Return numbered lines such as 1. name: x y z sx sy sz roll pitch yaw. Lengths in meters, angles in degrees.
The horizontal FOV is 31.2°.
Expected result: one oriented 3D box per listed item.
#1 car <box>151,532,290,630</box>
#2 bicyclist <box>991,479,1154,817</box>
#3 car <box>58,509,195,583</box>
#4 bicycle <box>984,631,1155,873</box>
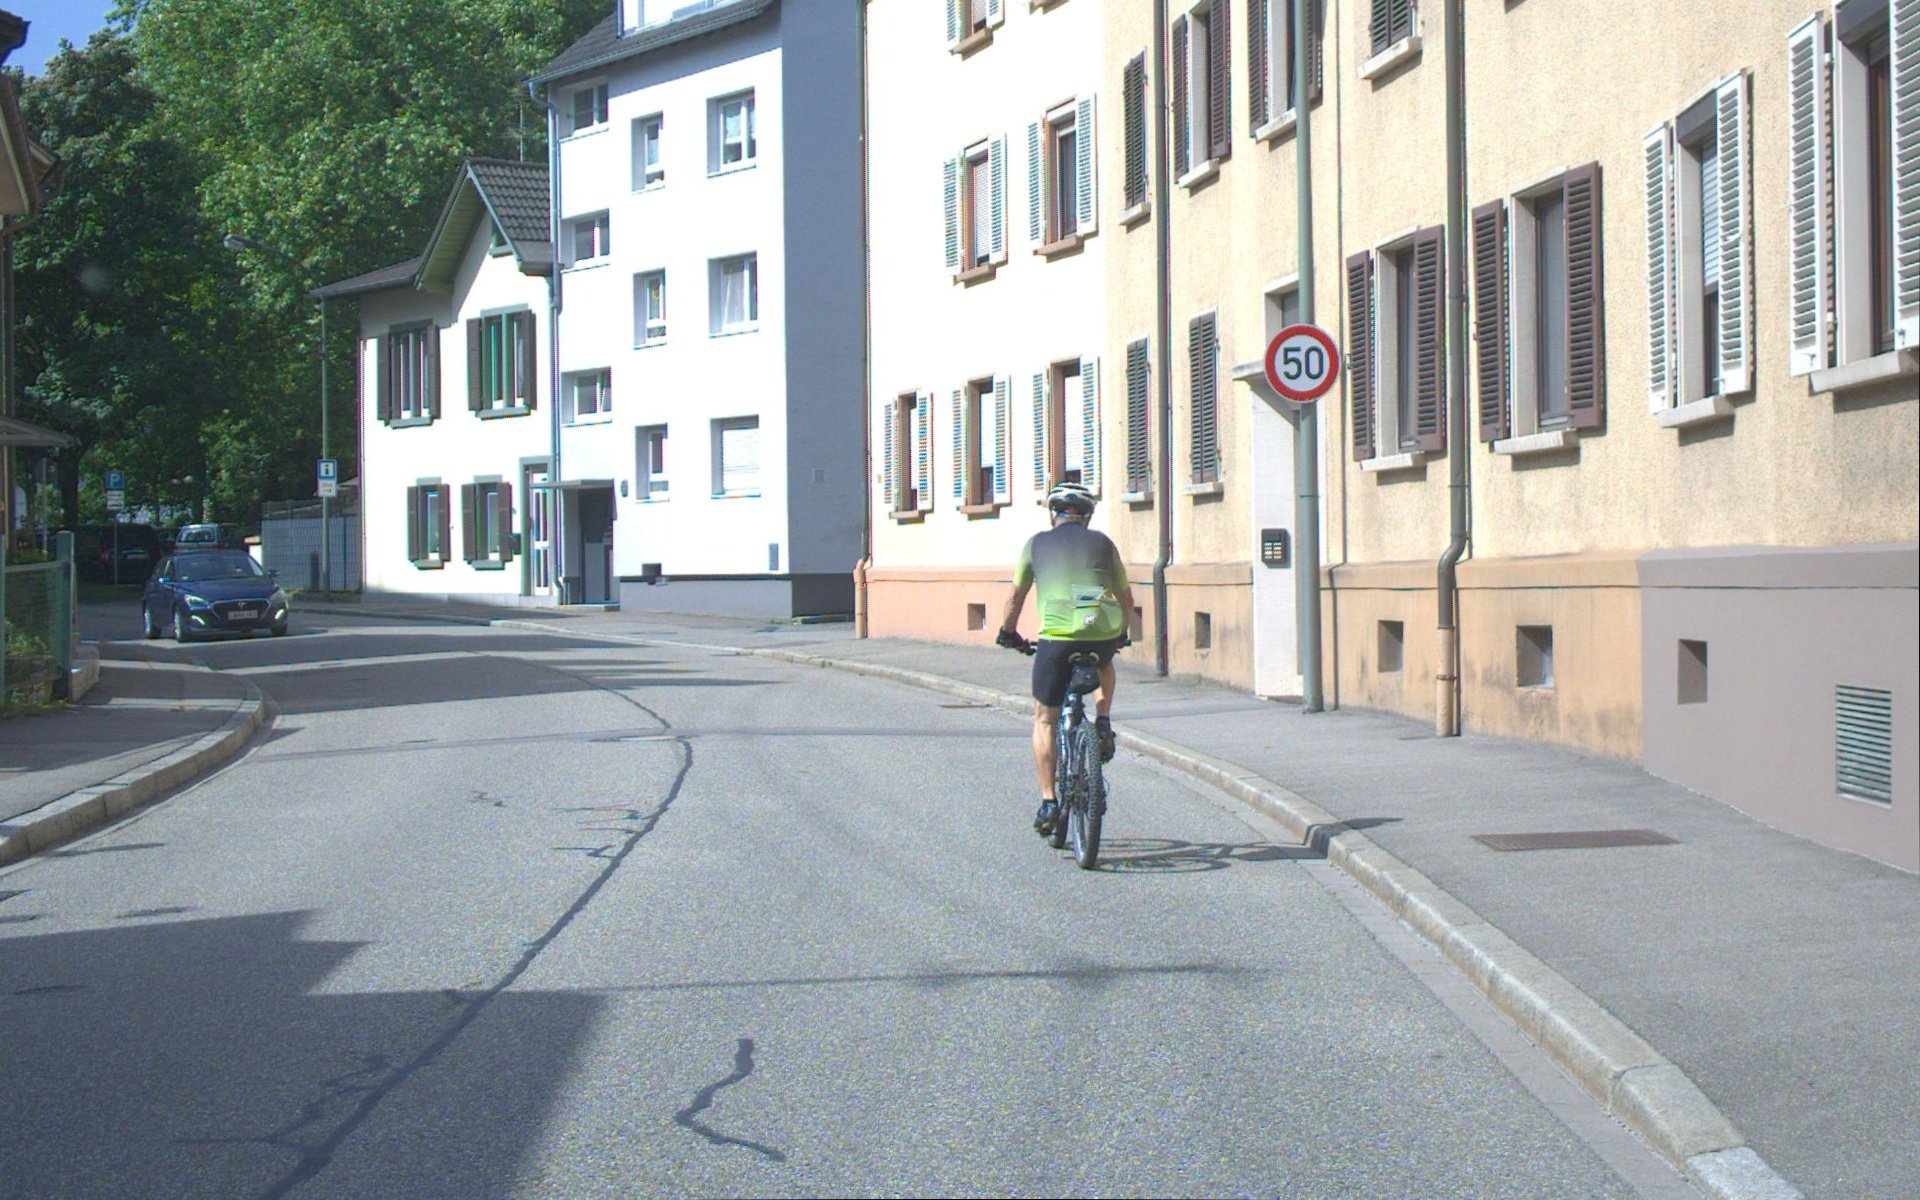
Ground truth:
1. car: -12.365 -0.341 57.337 1.747 1.448 4.029 -5 2 -18
2. bicyclist: 0.516 0.215 16.059 0.685 1.526 0.716 -1 1 -2
3. car: -21.609 -1.428 89.059 1.823 1.785 3.999 -2 3 -41
4. bicycle: 0.495 0.686 16.062 0.698 1.032 1.471 0 1 -2
